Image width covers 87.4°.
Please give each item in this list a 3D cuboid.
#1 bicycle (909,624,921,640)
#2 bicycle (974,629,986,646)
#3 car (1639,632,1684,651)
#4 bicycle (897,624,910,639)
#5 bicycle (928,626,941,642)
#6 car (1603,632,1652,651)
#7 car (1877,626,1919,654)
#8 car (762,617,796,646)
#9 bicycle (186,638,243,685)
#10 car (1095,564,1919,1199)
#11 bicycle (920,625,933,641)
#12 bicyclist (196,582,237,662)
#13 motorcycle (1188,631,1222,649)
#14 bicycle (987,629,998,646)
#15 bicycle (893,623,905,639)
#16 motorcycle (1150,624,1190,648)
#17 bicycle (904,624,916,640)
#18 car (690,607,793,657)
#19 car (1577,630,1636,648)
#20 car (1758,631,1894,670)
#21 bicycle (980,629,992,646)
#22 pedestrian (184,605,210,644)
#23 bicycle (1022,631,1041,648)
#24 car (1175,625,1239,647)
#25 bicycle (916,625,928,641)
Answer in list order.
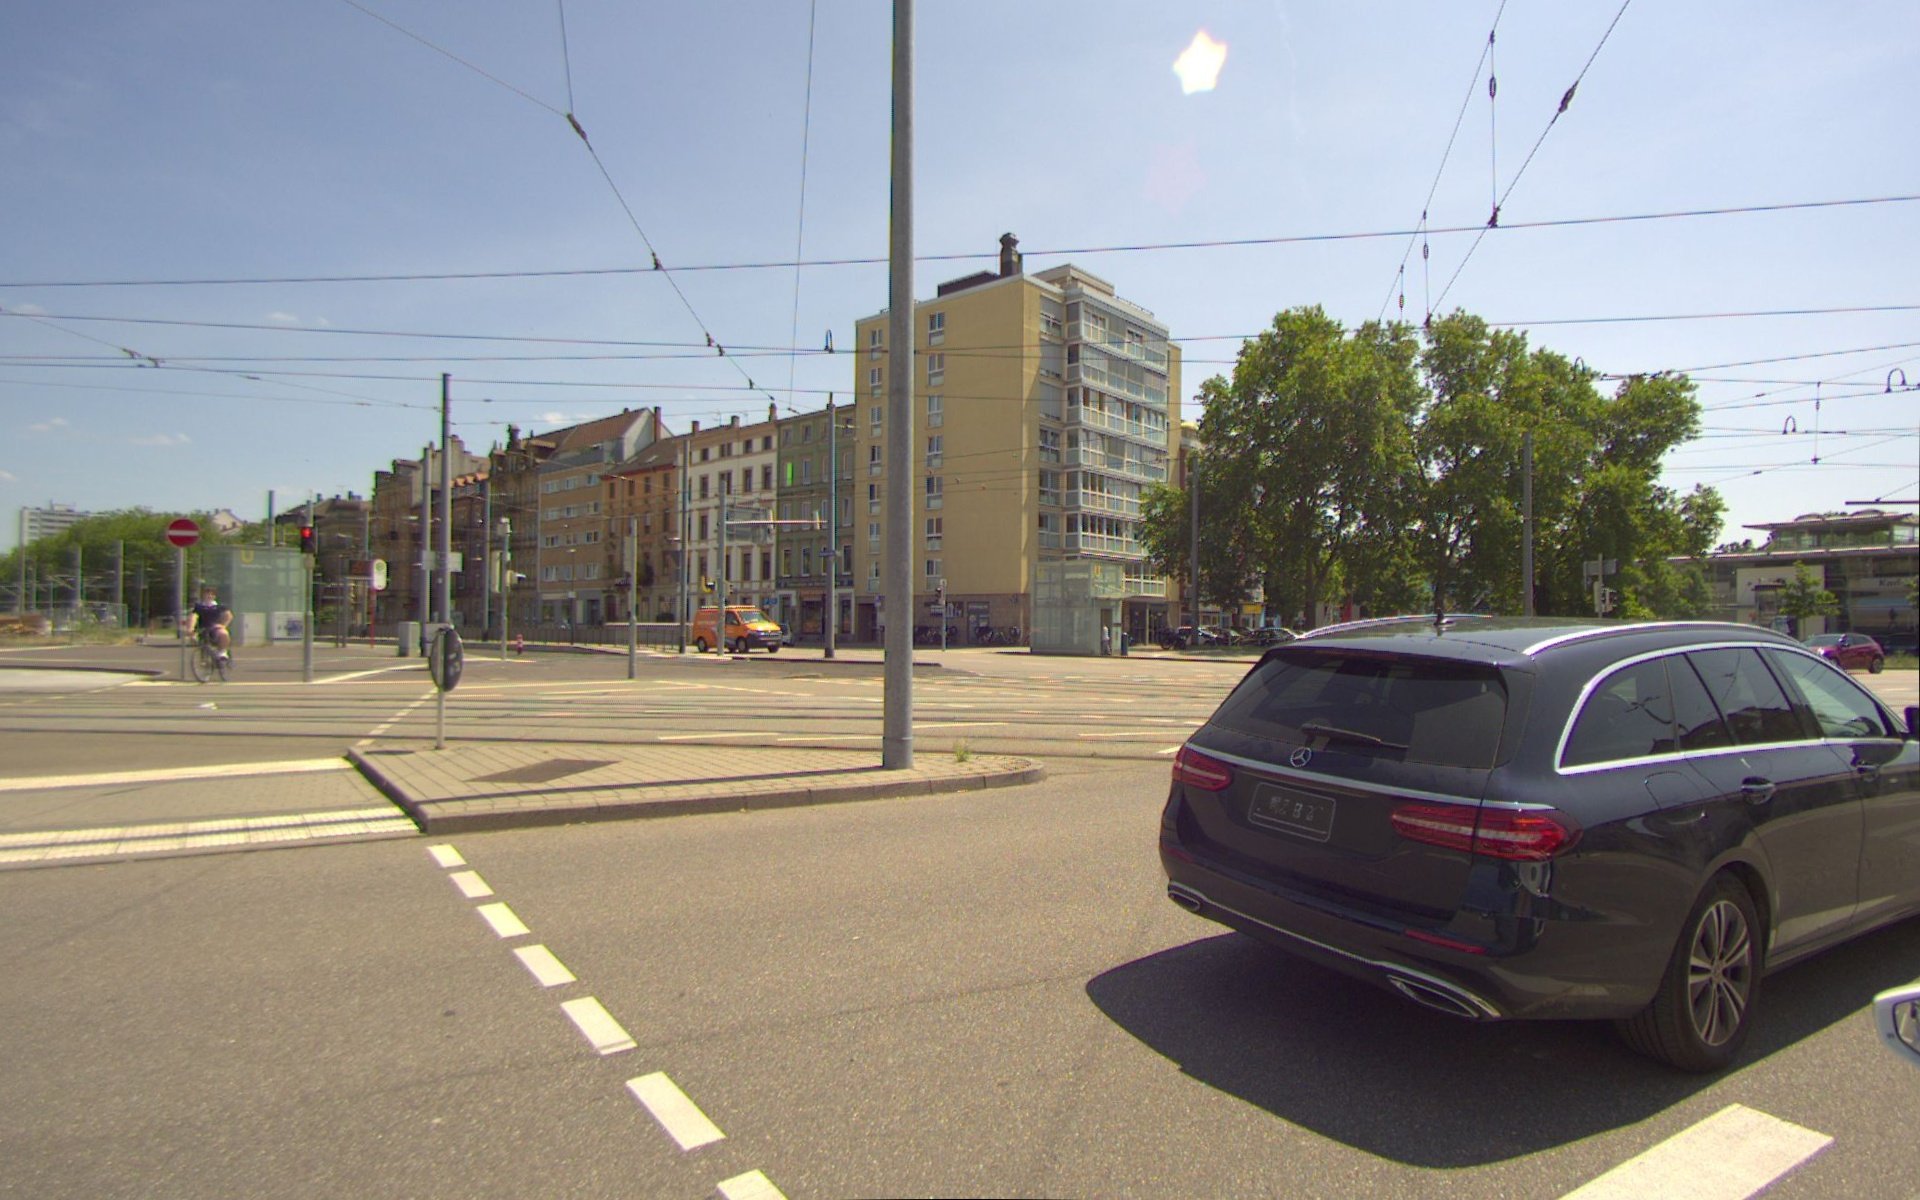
[{"bbox_3d":[-2.994,2.164,67.330,0.424,1.040,1.445,0,-1,14],"label":"bicycle"},{"bbox_3d":[1.270,2.331,63.349,0.424,1.040,1.445,0,-1,14],"label":"bicycle"},{"bbox_3d":[56.340,3.325,80.636,4.286,1.530,1.754,2,-2,-37],"label":"car"},{"bbox_3d":[-3.807,2.132,68.047,0.424,1.040,1.445,0,-1,14],"label":"bicycle"},{"bbox_3d":[-1.688,2.217,66.422,0.424,1.040,1.445,0,-1,14],"label":"bicycle"},{"bbox_3d":[55.250,3.422,83.089,4.277,1.530,1.758,1,-1,-31],"label":"car"},{"bbox_3d":[63.123,2.692,66.924,3.955,1.729,1.910,3,0,-32],"label":"car"},{"bbox_3d":[-11.535,1.973,64.237,1.804,1.773,3.997,1,-1,-6],"label":"car"},{"bbox_3d":[-14.907,1.203,20.127,0.620,0.866,1.886,1,-1,-28],"label":"bicycle"},{"bbox_3d":[3.059,0.781,4.608,4.749,1.662,1.788,2,0,-31],"label":"car"},{"bbox_3d":[-2.214,2.195,66.663,0.424,1.040,1.445,0,-1,14],"label":"bicycle"},{"bbox_3d":[-14.900,0.425,20.145,0.433,1.549,1.244,2,0,-28],"label":"bicyclist"},{"bbox_3d":[14.265,2.331,58.511,1.886,0.974,0.525,0,-1,29],"label":"motorcycle"},{"bbox_3d":[2.033,2.362,62.799,0.424,1.040,1.445,0,-1,14],"label":"bicycle"},{"bbox_3d":[-4.160,2.118,68.374,0.424,1.040,1.445,0,-1,14],"label":"bicycle"},{"bbox_3d":[11.415,1.944,54.713,0.949,1.238,2.802,1,-1,-16],"label":"motorcycle"},{"bbox_3d":[-3.366,2.149,67.626,0.424,1.040,1.445,0,-1,14],"label":"bicycle"},{"bbox_3d":[-9.787,1.391,44.739,4.798,2.084,1.991,-1,-2,40],"label":"car"},{"bbox_3d":[57.577,3.496,89.529,4.244,1.530,1.772,0,-1,24],"label":"car"},{"bbox_3d":[34.546,2.007,40.093,4.770,1.484,1.992,1,-1,-19],"label":"car"},{"bbox_3d":[1.655,2.347,63.051,0.424,1.040,1.445,0,-1,14],"label":"bicycle"},{"bbox_3d":[-36.027,1.163,47.428,1.113,1.837,0.677,0,-1,36],"label":"pedestrian"},{"bbox_3d":[4.454,2.464,62.615,0.426,1.040,1.436,0,-1,42],"label":"bicycle"},{"bbox_3d":[17.332,2.510,70.599,3.933,1.439,1.994,0,-2,34],"label":"car"},{"bbox_3d":[-2.543,2.182,67.049,0.424,1.040,1.445,0,-1,14],"label":"bicycle"}]
